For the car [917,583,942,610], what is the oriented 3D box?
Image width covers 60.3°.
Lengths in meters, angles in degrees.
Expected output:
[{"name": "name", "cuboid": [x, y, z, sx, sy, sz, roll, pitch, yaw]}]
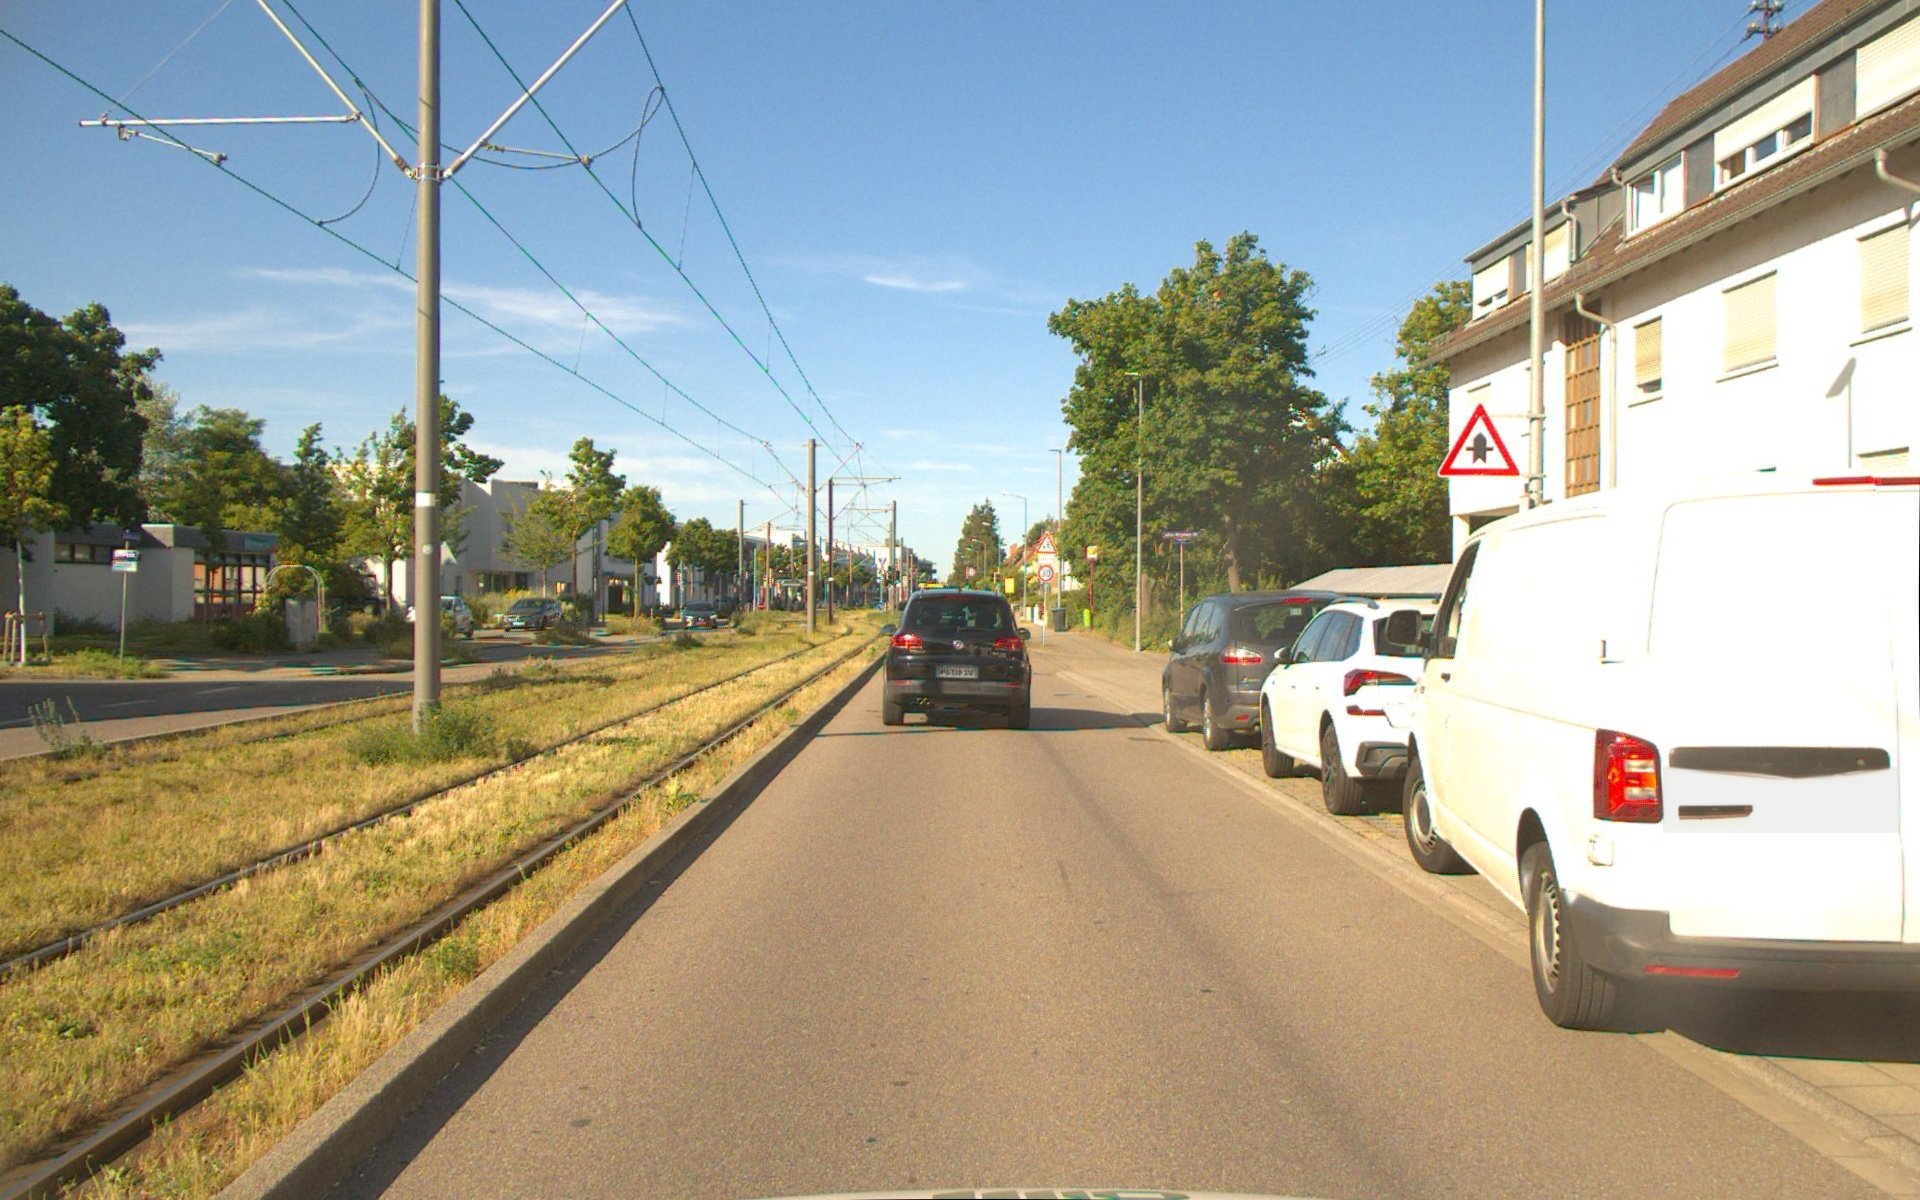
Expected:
[{"name": "car", "cuboid": [-2.880, -0.324, 157.837, 2.345, 2.609, 5.529, 0, 0, 0]}]

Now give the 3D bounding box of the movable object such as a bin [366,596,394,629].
[{"name": "movable object such as a bin", "cuboid": [-25.916, 0.546, 73.950, 0.650, 1.459, 1.255, 1, 0, 7]}]

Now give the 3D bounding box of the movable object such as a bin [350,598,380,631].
[{"name": "movable object such as a bin", "cuboid": [-26.027, 0.614, 72.344, 0.650, 1.407, 1.422, 1, 0, 7]}]

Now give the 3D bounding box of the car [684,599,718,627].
[{"name": "car", "cuboid": [-13.790, 0.700, 88.142, 1.656, 1.413, 4.380, -2, 0, -7]}]

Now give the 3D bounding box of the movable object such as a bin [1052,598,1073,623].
[{"name": "movable object such as a bin", "cuboid": [4.697, 0.499, 75.959, 0.955, 1.130, 1.171, 0, 0, 3]}]

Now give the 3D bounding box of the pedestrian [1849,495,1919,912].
[{"name": "pedestrian", "cuboid": [4.859, 0.494, 8.048, 0.684, 1.945, 0.759, 1, 0, 8]}]

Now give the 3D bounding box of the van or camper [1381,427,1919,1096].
[{"name": "van or camper", "cuboid": [3.288, 0.459, 7.534, 1.985, 1.990, 5.299, 0, 0, 7]}]

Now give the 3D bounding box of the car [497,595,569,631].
[{"name": "car", "cuboid": [-18.645, 0.552, 72.383, 1.772, 1.486, 4.319, 1, 0, 4]}]

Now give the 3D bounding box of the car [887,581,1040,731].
[{"name": "car", "cuboid": [-0.044, 0.656, 21.238, 1.740, 1.699, 3.998, 1, 0, -3]}]

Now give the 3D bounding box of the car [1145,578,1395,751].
[{"name": "car", "cuboid": [3.356, 0.624, 18.874, 1.755, 1.657, 4.859, -2, 0, -2]}]

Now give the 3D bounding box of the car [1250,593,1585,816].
[{"name": "car", "cuboid": [3.500, 0.723, 13.412, 1.622, 1.518, 4.160, 0, 0, 1]}]

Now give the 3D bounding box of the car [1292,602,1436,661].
[{"name": "car", "cuboid": [10.913, 0.849, 44.866, 3.520, 1.557, 1.647, 0, -1, 1]}]

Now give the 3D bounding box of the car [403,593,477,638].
[{"name": "car", "cuboid": [-18.522, 0.543, 59.081, 1.513, 1.517, 3.774, 1, 0, -2]}]
